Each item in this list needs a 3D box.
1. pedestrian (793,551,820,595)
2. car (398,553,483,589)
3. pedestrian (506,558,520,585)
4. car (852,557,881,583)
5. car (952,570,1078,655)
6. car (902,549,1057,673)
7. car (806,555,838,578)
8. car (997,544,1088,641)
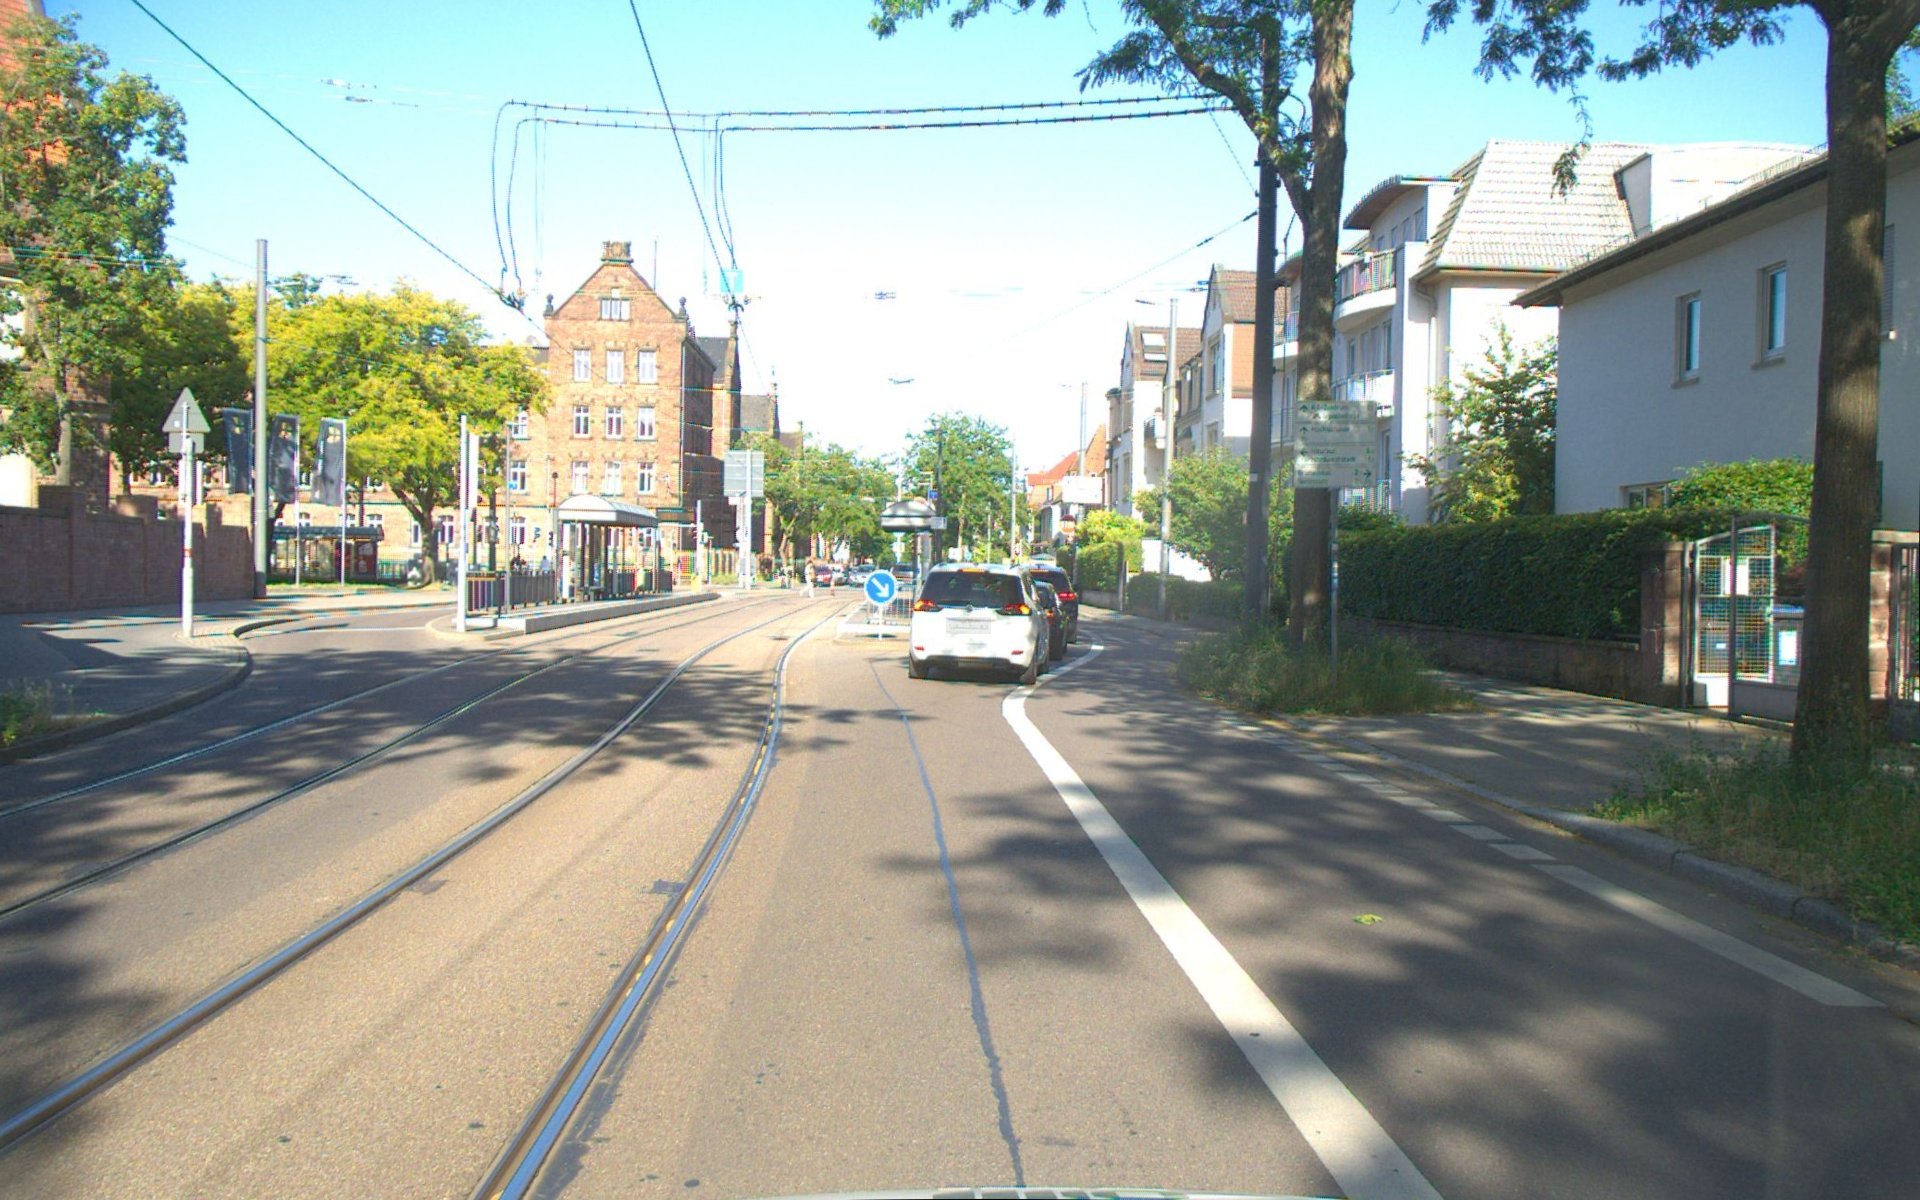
[{"bbox_3d":[-7.180,-1.272,77.623,1.131,2.048,1.120,0,1,1],"label":"pedestrian"},{"bbox_3d":[-27.367,-1.552,87.218,3.910,1.821,1.998,1,1,-6],"label":"car"},{"bbox_3d":[-21.766,-1.379,80.560,0.547,1.281,0.530,0,1,-2],"label":"pedestrian"},{"bbox_3d":[-6.998,-2.238,124.045,1.953,1.947,4.000,1,1,-1],"label":"car"},{"bbox_3d":[1.103,0.177,31.060,1.951,1.467,4.004,1,1,8],"label":"car"},{"bbox_3d":[0.379,0.170,24.402,1.852,1.639,4.231,1,-1,6],"label":"car"},{"bbox_3d":[-10.891,-2.626,130.562,1.952,1.752,4.002,1,1,3],"label":"car"},{"bbox_3d":[1.910,-0.200,37.190,1.672,2.048,3.910,1,1,8],"label":"car"}]
